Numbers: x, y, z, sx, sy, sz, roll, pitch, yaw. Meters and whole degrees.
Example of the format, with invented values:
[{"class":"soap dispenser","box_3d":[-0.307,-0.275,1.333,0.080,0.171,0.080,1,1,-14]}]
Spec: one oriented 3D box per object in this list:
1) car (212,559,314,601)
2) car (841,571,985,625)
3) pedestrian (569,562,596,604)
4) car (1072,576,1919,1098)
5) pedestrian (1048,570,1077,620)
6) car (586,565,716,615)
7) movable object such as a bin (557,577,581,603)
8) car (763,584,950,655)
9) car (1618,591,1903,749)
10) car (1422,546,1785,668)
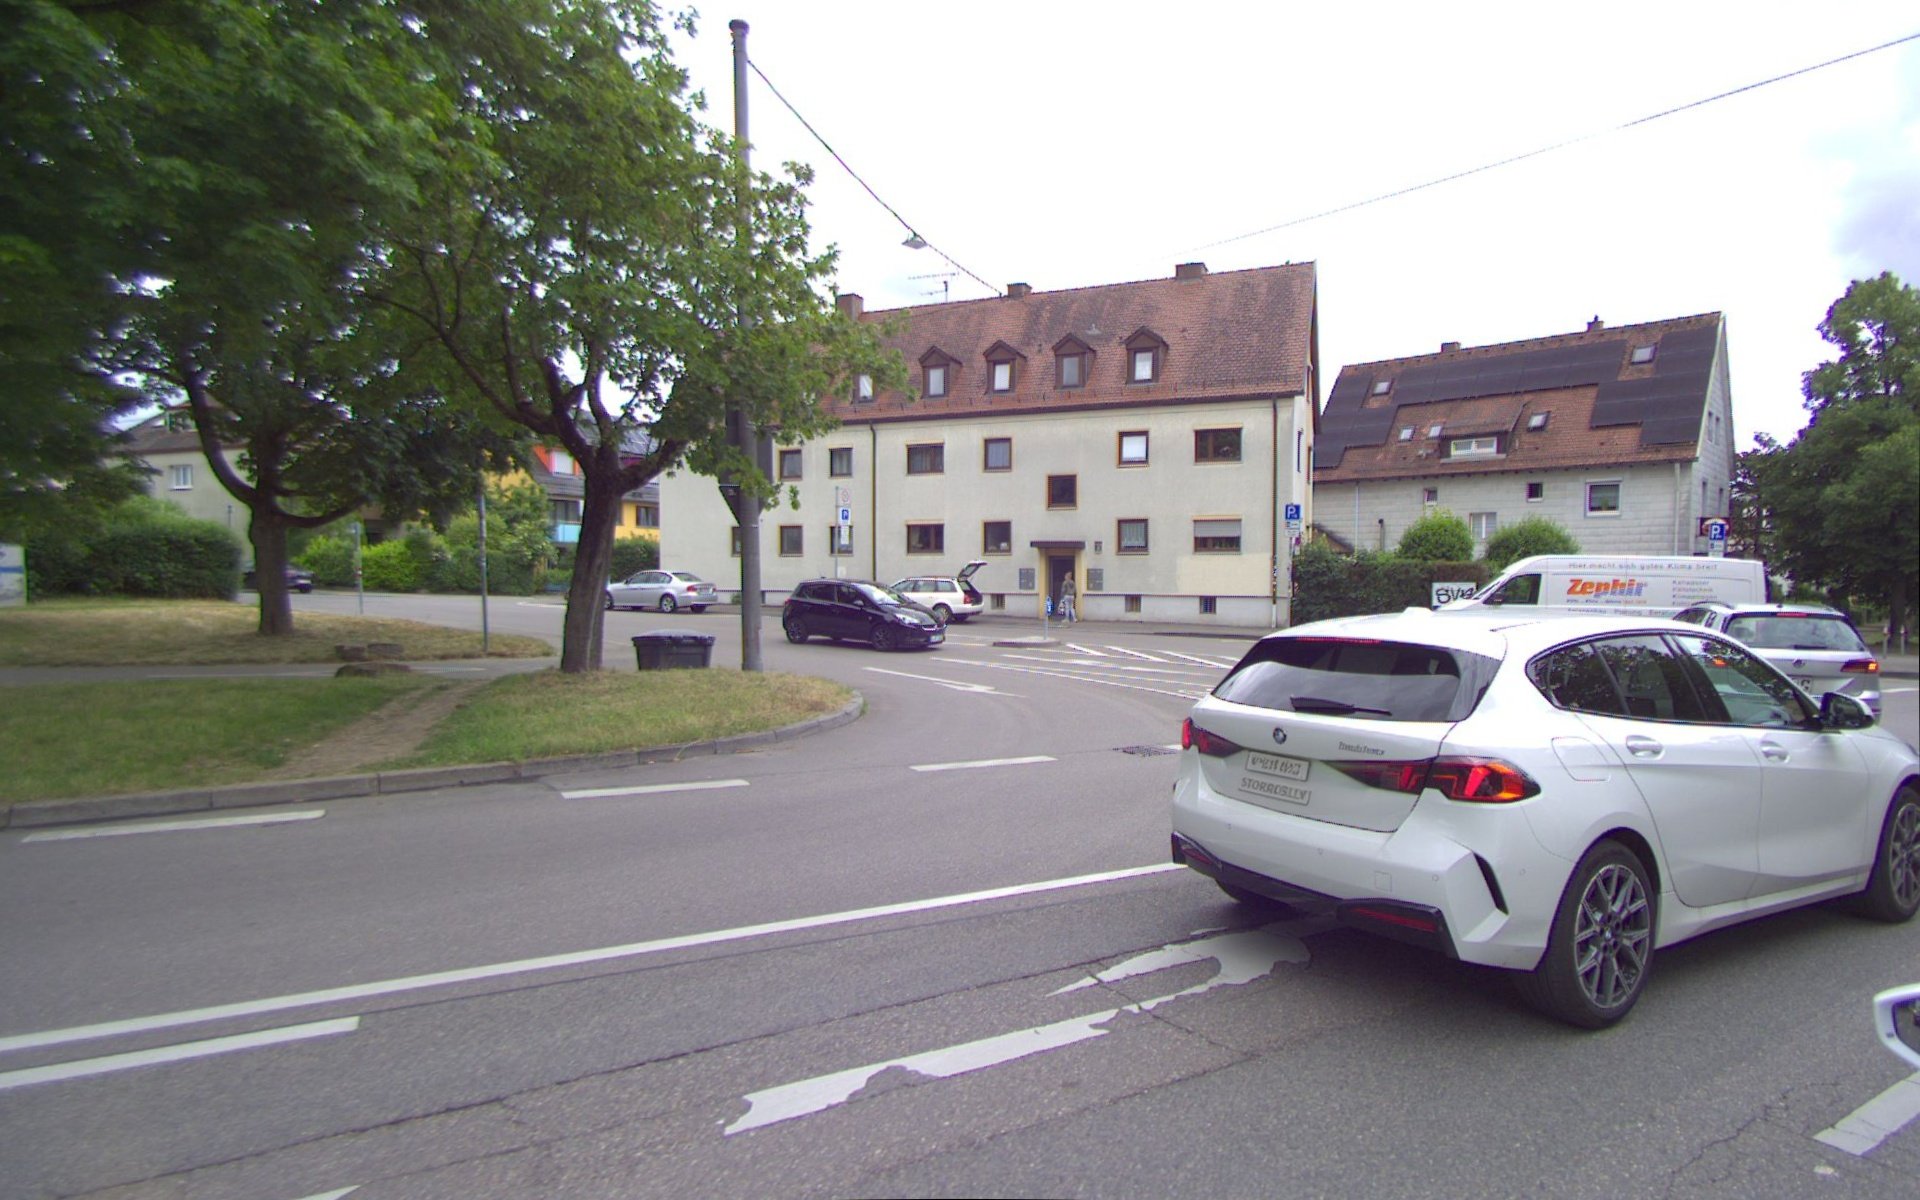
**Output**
[{"class":"car","box_3d":[-29.394,-0.885,42.359,3.815,1.556,1.801,3,4,24]},{"class":"car","box_3d":[-1.500,-0.103,32.006,4.232,1.460,1.721,3,4,21]},{"class":"pedestrian","box_3d":[-15.126,-0.691,40.274,0.767,1.655,0.681,3,4,25]},{"class":"car","box_3d":[2.747,0.694,4.792,4.157,1.538,1.787,0,1,-30]},{"class":"pedestrian","box_3d":[3.310,-0.184,32.503,0.735,1.555,0.716,3,4,21]},{"class":"car","box_3d":[-10.562,-0.340,34.275,4.153,1.554,1.682,2,0,25]},{"class":"movable object such as a bin","box_3d":[-15.820,-0.412,40.623,0.862,1.010,0.403,3,4,26]},{"class":"car","box_3d":[-2.334,0.376,22.364,3.928,1.355,1.641,2,3,30]},{"class":"car","box_3d":[9.760,0.709,12.647,1.893,1.595,3.996,1,1,25]},{"class":"car","box_3d":[14.730,0.036,23.664,6.846,2.556,2.083,2,4,23]}]
